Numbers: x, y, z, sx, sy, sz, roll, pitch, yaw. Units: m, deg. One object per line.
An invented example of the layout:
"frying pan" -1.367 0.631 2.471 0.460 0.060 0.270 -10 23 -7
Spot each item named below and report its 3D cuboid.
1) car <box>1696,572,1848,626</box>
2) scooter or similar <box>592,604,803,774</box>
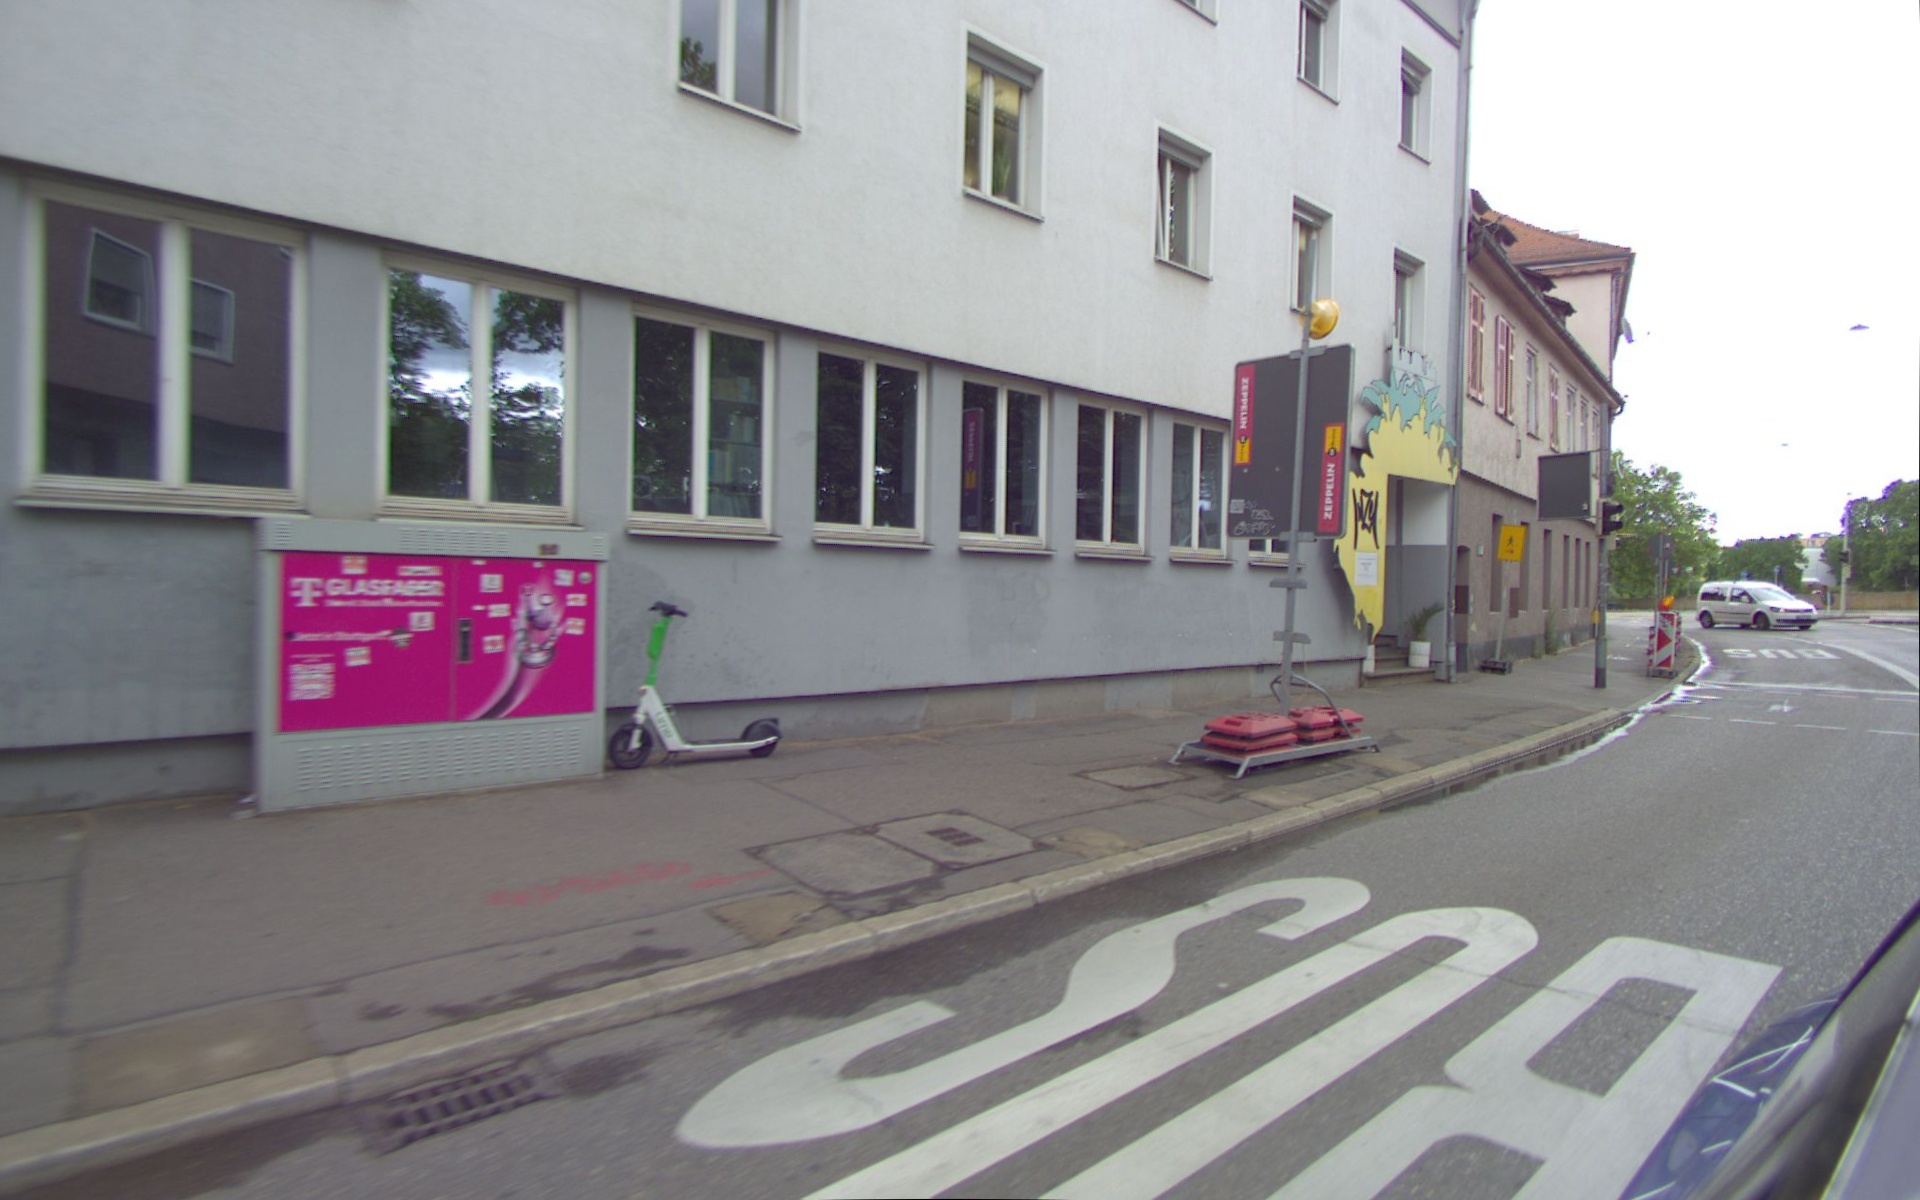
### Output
"car" 30.337 -0.072 38.024 2.035 1.807 4.457 -3 1 1
"scooter or similar" -1.881 0.599 7.358 1.414 1.110 0.429 1 2 -41
